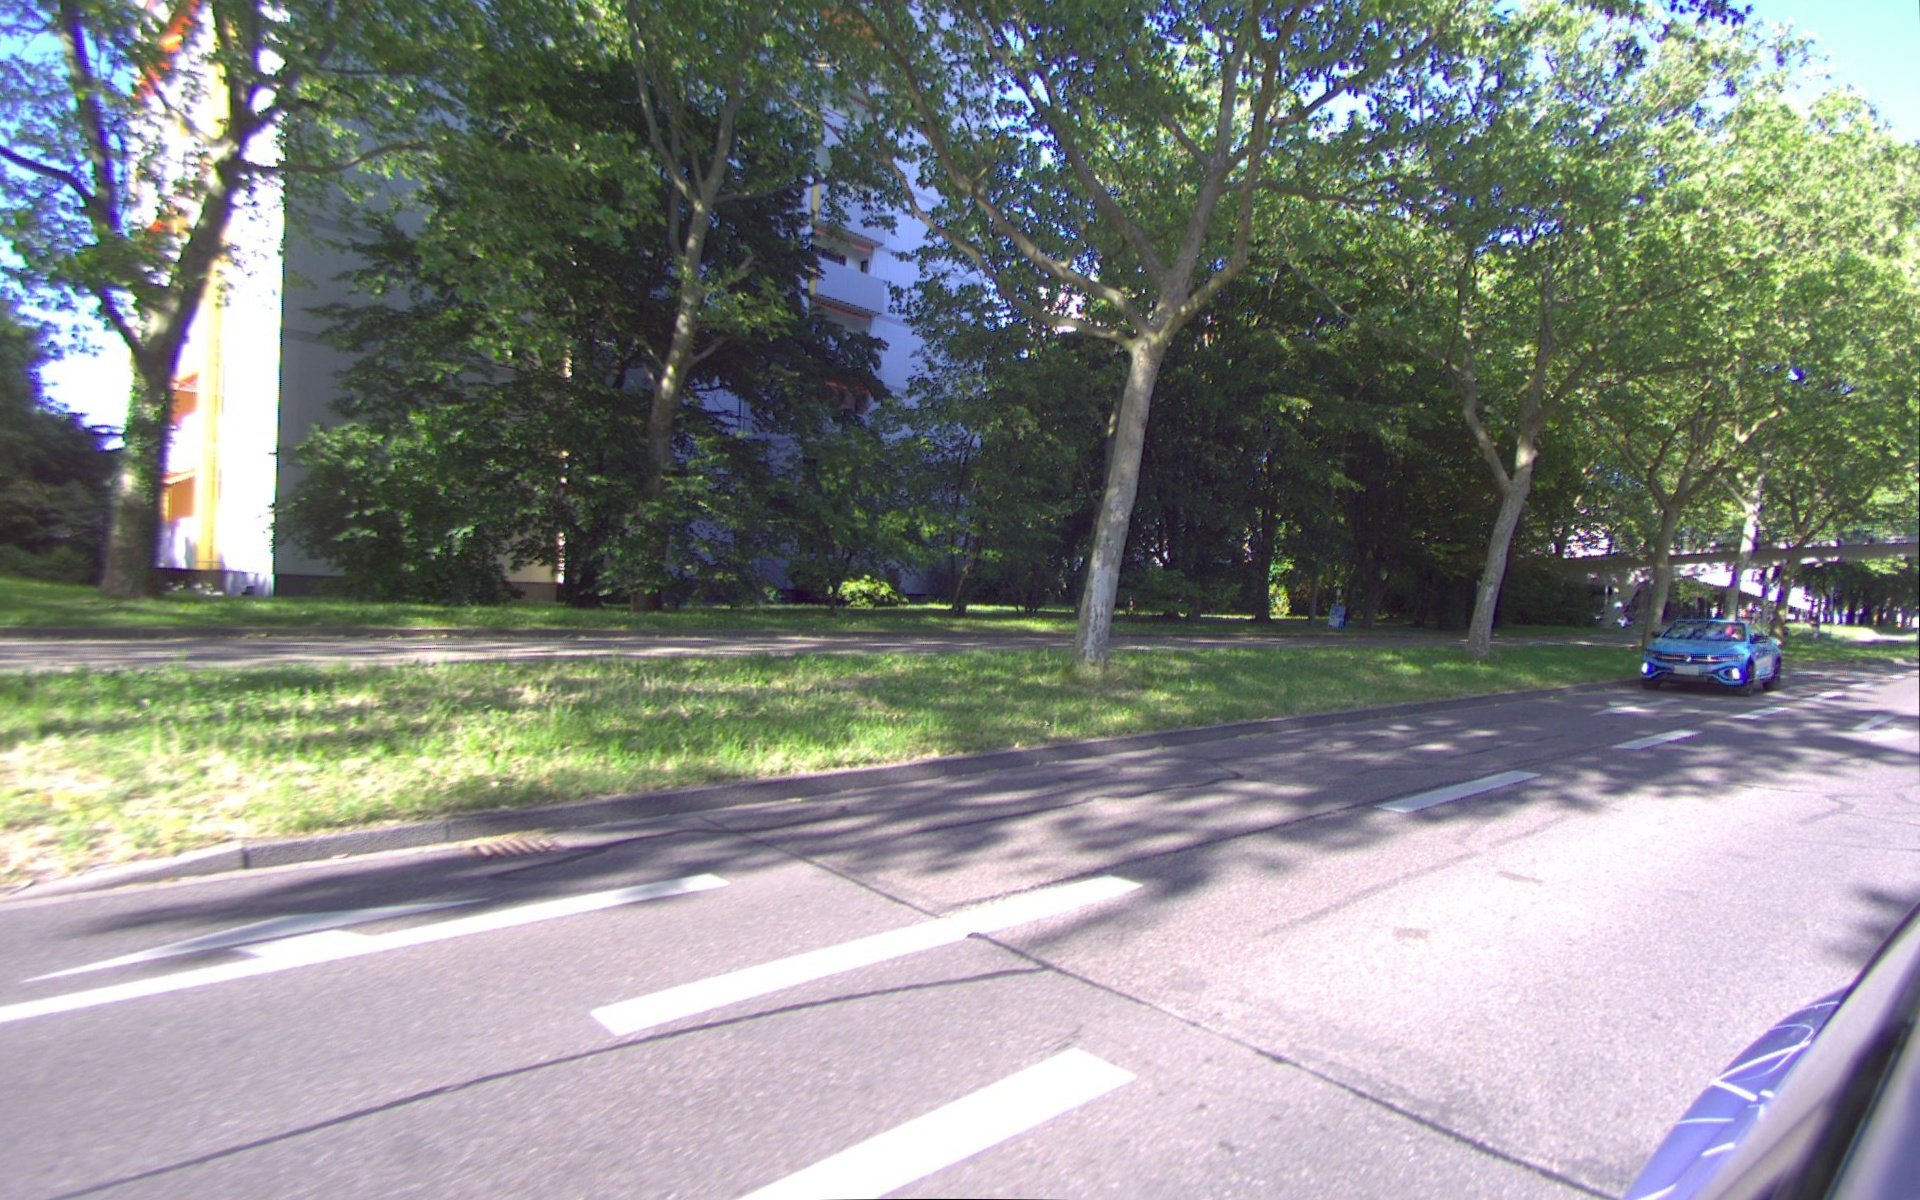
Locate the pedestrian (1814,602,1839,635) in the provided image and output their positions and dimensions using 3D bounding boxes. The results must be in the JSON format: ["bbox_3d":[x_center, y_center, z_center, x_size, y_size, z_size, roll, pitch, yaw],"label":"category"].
[{"bbox_3d":[47.568,1.014,55.561,0.725,1.800,0.661,2,-1,-4],"label":"pedestrian"}]

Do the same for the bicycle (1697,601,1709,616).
[{"bbox_3d":[67.570,0.768,92.061,1.776,1.269,0.576,0,0,-44],"label":"bicycle"}]

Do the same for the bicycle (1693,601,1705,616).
[{"bbox_3d":[66.155,0.764,90.583,1.776,1.269,0.576,0,0,-44],"label":"bicycle"}]

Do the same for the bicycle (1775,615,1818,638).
[{"bbox_3d":[48.737,1.530,58.999,0.798,1.161,1.840,4,2,-6],"label":"bicycle"}]

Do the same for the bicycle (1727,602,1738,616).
[{"bbox_3d":[73.057,0.843,95.666,1.776,1.269,0.576,0,0,-44],"label":"bicycle"}]

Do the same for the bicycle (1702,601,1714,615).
[{"bbox_3d":[70.524,0.752,95.409,1.776,1.269,0.576,0,0,-44],"label":"bicycle"}]

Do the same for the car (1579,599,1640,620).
[{"bbox_3d":[50.394,0.722,78.530,1.681,1.515,3.731,4,-2,-44],"label":"car"}]

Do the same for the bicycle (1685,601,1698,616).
[{"bbox_3d":[63.434,0.755,87.737,1.776,1.269,0.576,0,0,-44],"label":"bicycle"}]

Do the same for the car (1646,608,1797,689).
[{"bbox_3d":[15.823,0.958,20.963,4.029,1.502,1.778,2,-1,-42],"label":"car"}]

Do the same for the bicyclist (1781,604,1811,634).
[{"bbox_3d":[48.760,1.096,59.031,0.798,1.652,0.958,4,2,-5],"label":"bicyclist"}]

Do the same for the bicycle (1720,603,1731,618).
[{"bbox_3d":[69.708,0.948,92.169,1.776,1.269,0.576,0,0,-44],"label":"bicycle"}]

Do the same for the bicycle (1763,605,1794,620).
[{"bbox_3d":[74.063,1.113,91.552,0.550,1.172,2.077,2,2,-28],"label":"bicycle"}]

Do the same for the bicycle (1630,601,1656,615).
[{"bbox_3d":[60.004,0.713,88.971,1.799,1.129,0.700,3,3,41],"label":"bicycle"}]

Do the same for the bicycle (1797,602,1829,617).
[{"bbox_3d":[74.908,0.827,88.849,2.062,1.172,0.554,4,2,38],"label":"bicycle"}]
